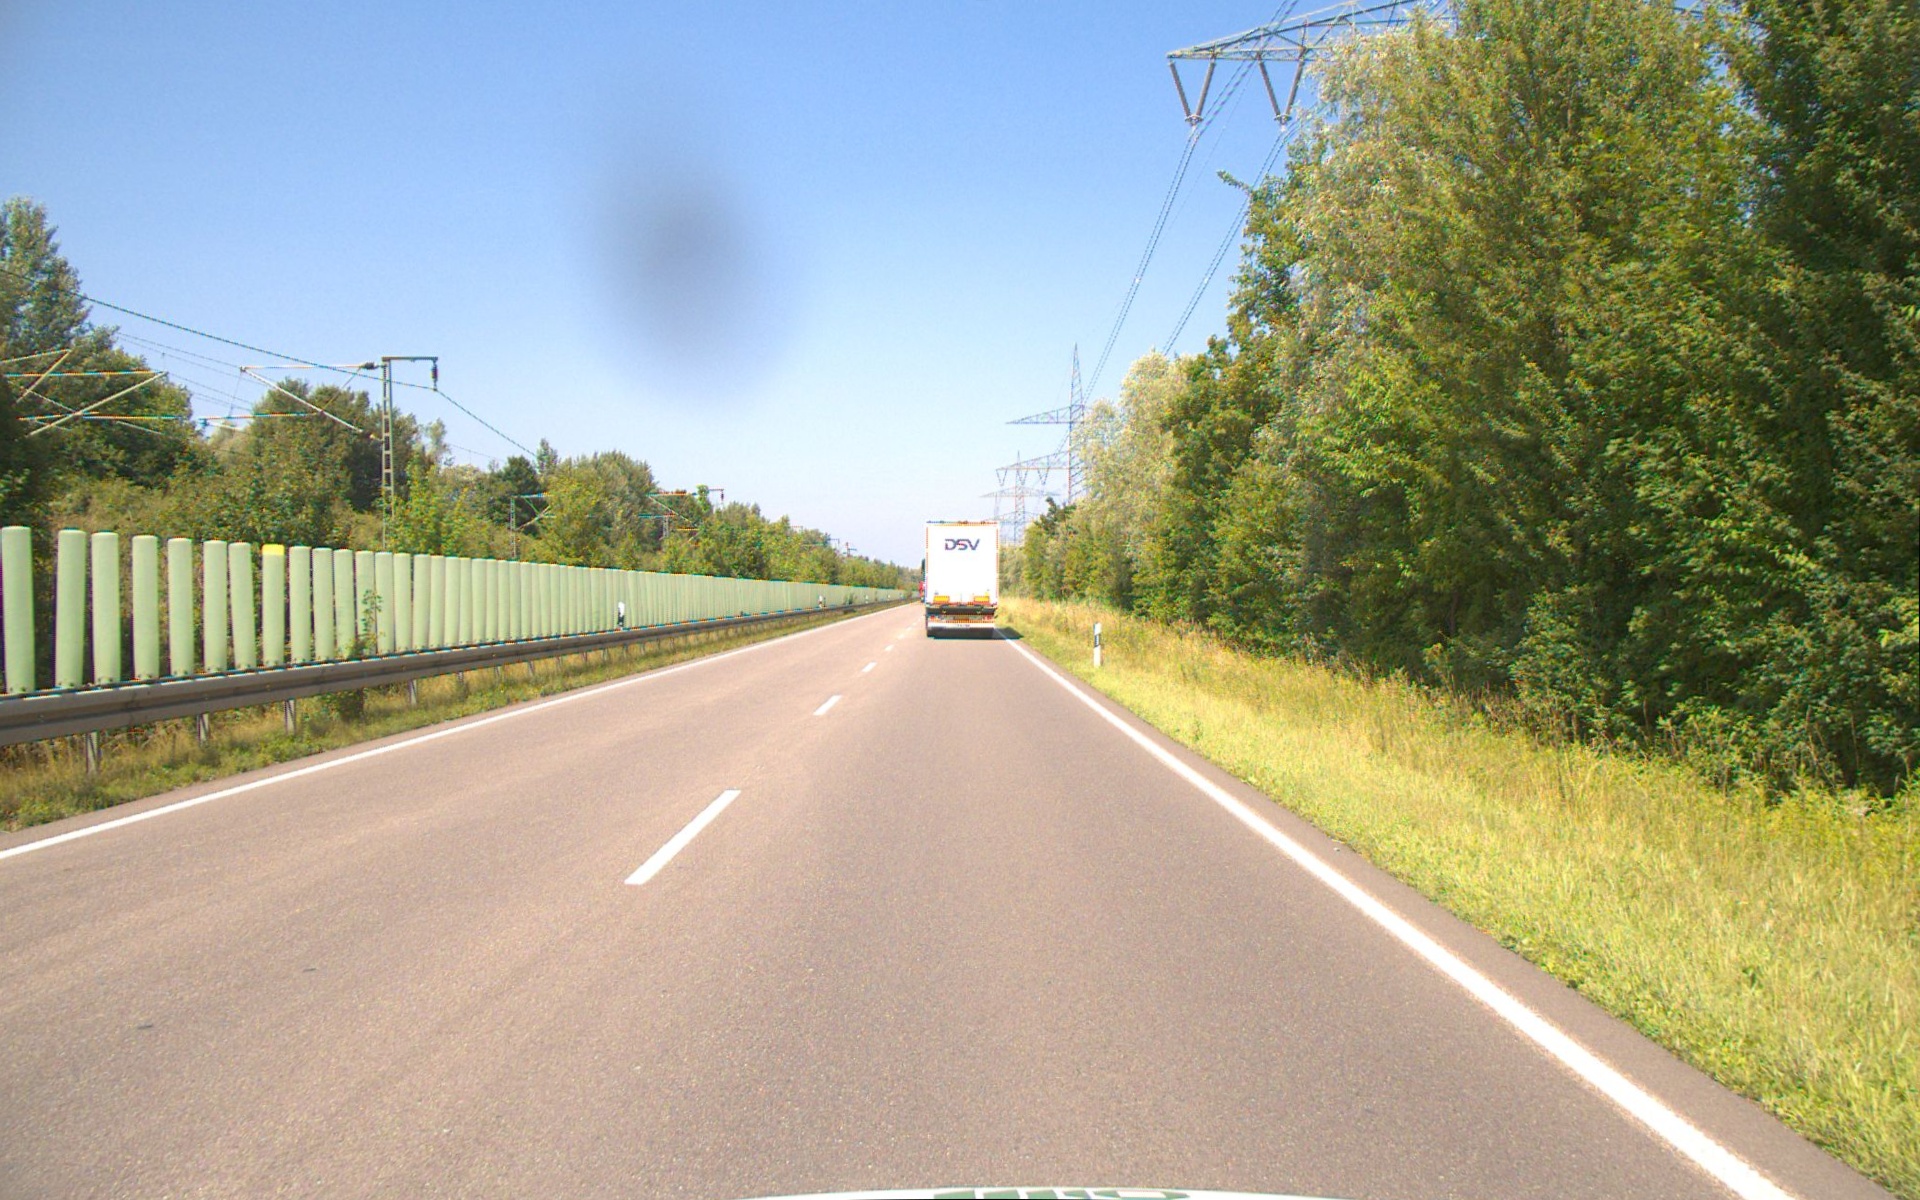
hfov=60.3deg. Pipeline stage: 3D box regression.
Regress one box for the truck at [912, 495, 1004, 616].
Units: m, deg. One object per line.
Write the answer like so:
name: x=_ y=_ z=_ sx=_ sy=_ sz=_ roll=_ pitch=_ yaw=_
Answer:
truck: x=-0.163 y=-1.535 z=61.933 sx=3.127 sy=4.113 sz=12.004 roll=0 pitch=0 yaw=-1
